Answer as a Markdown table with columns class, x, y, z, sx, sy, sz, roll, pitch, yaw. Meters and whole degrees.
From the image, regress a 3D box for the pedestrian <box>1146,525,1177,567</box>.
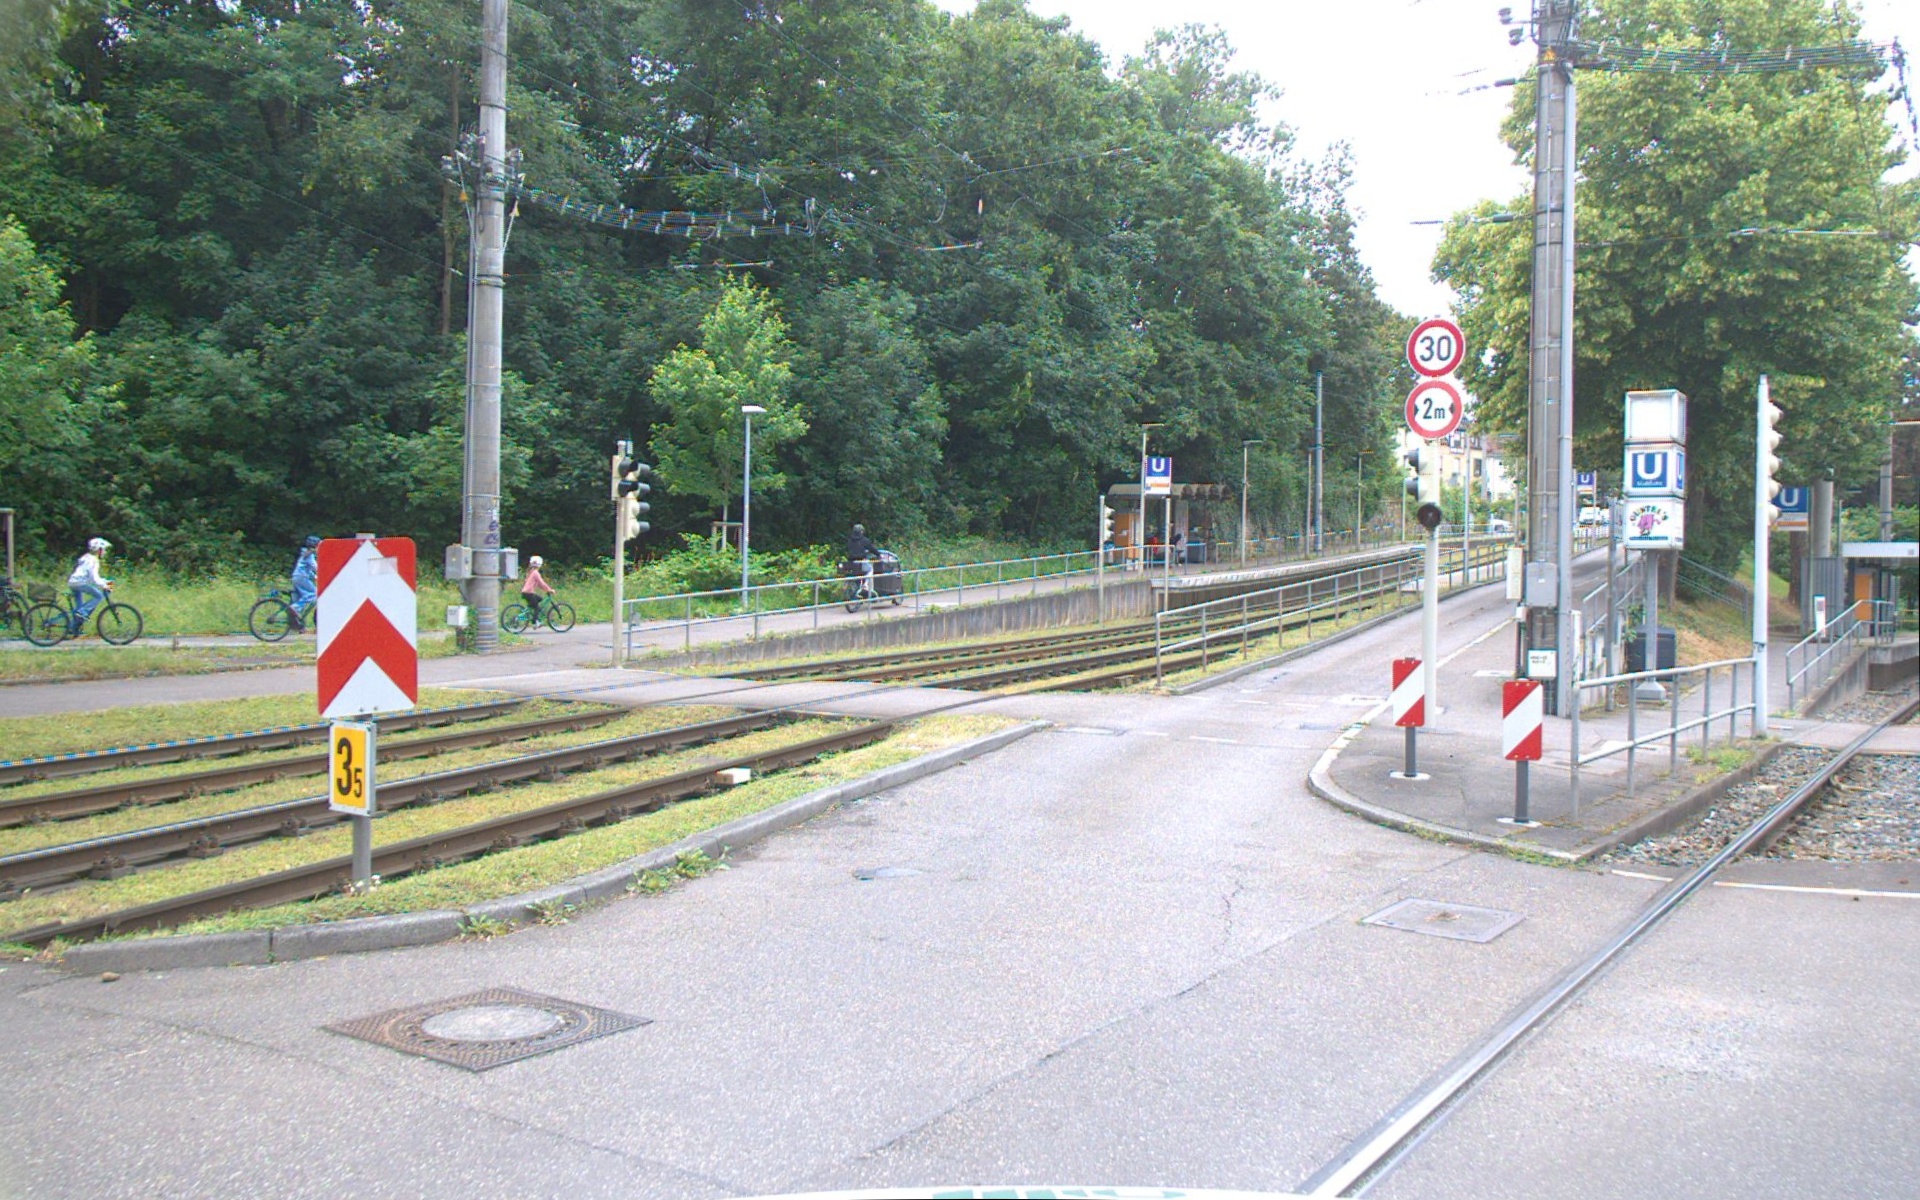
| class | x | y | z | sx | sy | sz | roll | pitch | yaw |
| --- | --- | --- | --- | --- | --- | --- | --- | --- | --- |
| pedestrian | 6.825 | -1.832 | 56.073 | 0.757 | 1.348 | 0.786 | 5 | 4 | 26 |

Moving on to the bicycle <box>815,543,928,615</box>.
| class | x | y | z | sx | sy | sz | roll | pitch | yaw |
| --- | --- | --- | --- | --- | --- | --- | --- | --- | --- |
| bicycle | -1.835 | -0.479 | 34.969 | 0.719 | 1.311 | 3.343 | 5 | 6 | 28 |

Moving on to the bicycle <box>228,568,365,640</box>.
| class | x | y | z | sx | sy | sz | roll | pitch | yaw |
| --- | --- | --- | --- | --- | --- | --- | --- | --- | --- |
| bicycle | -10.384 | 0.061 | 25.916 | 1.922 | 1.059 | 0.470 | 0 | 5 | -35 |

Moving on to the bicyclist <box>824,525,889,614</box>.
| class | x | y | z | sx | sy | sz | roll | pitch | yaw |
| --- | --- | --- | --- | --- | --- | --- | --- | --- | --- |
| bicyclist | -2.148 | -0.654 | 34.368 | 0.719 | 1.740 | 1.291 | 5 | 6 | 28 |

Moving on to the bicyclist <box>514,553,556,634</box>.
| class | x | y | z | sx | sy | sz | roll | pitch | yaw |
| --- | --- | --- | --- | --- | --- | --- | --- | --- | --- |
| bicyclist | -7.297 | -0.118 | 28.410 | 0.575 | 1.323 | 0.449 | -2 | 7 | -36 |

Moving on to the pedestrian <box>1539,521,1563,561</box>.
| class | x | y | z | sx | sy | sz | roll | pitch | yaw |
| --- | --- | --- | --- | --- | --- | --- | --- | --- | --- |
| pedestrian | 22.495 | -2.243 | 62.953 | 0.728 | 1.433 | 0.746 | 5 | 6 | 25 |

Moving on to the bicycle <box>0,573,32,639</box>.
| class | x | y | z | sx | sy | sz | roll | pitch | yaw |
| --- | --- | --- | --- | --- | --- | --- | --- | --- | --- |
| bicycle | -14.797 | 0.075 | 25.504 | 0.615 | 0.900 | 1.725 | 3 | 2 | -37 |

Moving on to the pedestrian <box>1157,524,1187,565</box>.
| class | x | y | z | sx | sy | sz | roll | pitch | yaw |
| --- | --- | --- | --- | --- | --- | --- | --- | --- | --- |
| pedestrian | 7.317 | -1.900 | 57.107 | 0.757 | 1.349 | 0.786 | 5 | 2 | 26 |

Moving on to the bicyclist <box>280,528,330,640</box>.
| class | x | y | z | sx | sy | sz | roll | pitch | yaw |
| --- | --- | --- | --- | --- | --- | --- | --- | --- | --- |
| bicyclist | -10.276 | -0.257 | 25.957 | 0.616 | 1.703 | 0.470 | 0 | 4 | -35 |

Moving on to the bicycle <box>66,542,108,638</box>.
| class | x | y | z | sx | sy | sz | roll | pitch | yaw |
| --- | --- | --- | --- | --- | --- | --- | --- | --- | --- |
| bicycle | -12.663 | -0.143 | 23.991 | 0.509 | 1.352 | 0.450 | 0 | 5 | -32 |

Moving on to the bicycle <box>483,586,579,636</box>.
| class | x | y | z | sx | sy | sz | roll | pitch | yaw |
| --- | --- | --- | --- | --- | --- | --- | --- | --- | --- |
| bicycle | -7.361 | 0.175 | 28.395 | 1.542 | 0.751 | 0.449 | -3 | 7 | -37 |

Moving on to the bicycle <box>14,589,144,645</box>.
| class | x | y | z | sx | sy | sz | roll | pitch | yaw |
| --- | --- | --- | --- | --- | --- | --- | --- | --- | --- |
| bicycle | -12.759 | 0.237 | 23.968 | 1.631 | 0.751 | 0.450 | 0 | 5 | -32 |
